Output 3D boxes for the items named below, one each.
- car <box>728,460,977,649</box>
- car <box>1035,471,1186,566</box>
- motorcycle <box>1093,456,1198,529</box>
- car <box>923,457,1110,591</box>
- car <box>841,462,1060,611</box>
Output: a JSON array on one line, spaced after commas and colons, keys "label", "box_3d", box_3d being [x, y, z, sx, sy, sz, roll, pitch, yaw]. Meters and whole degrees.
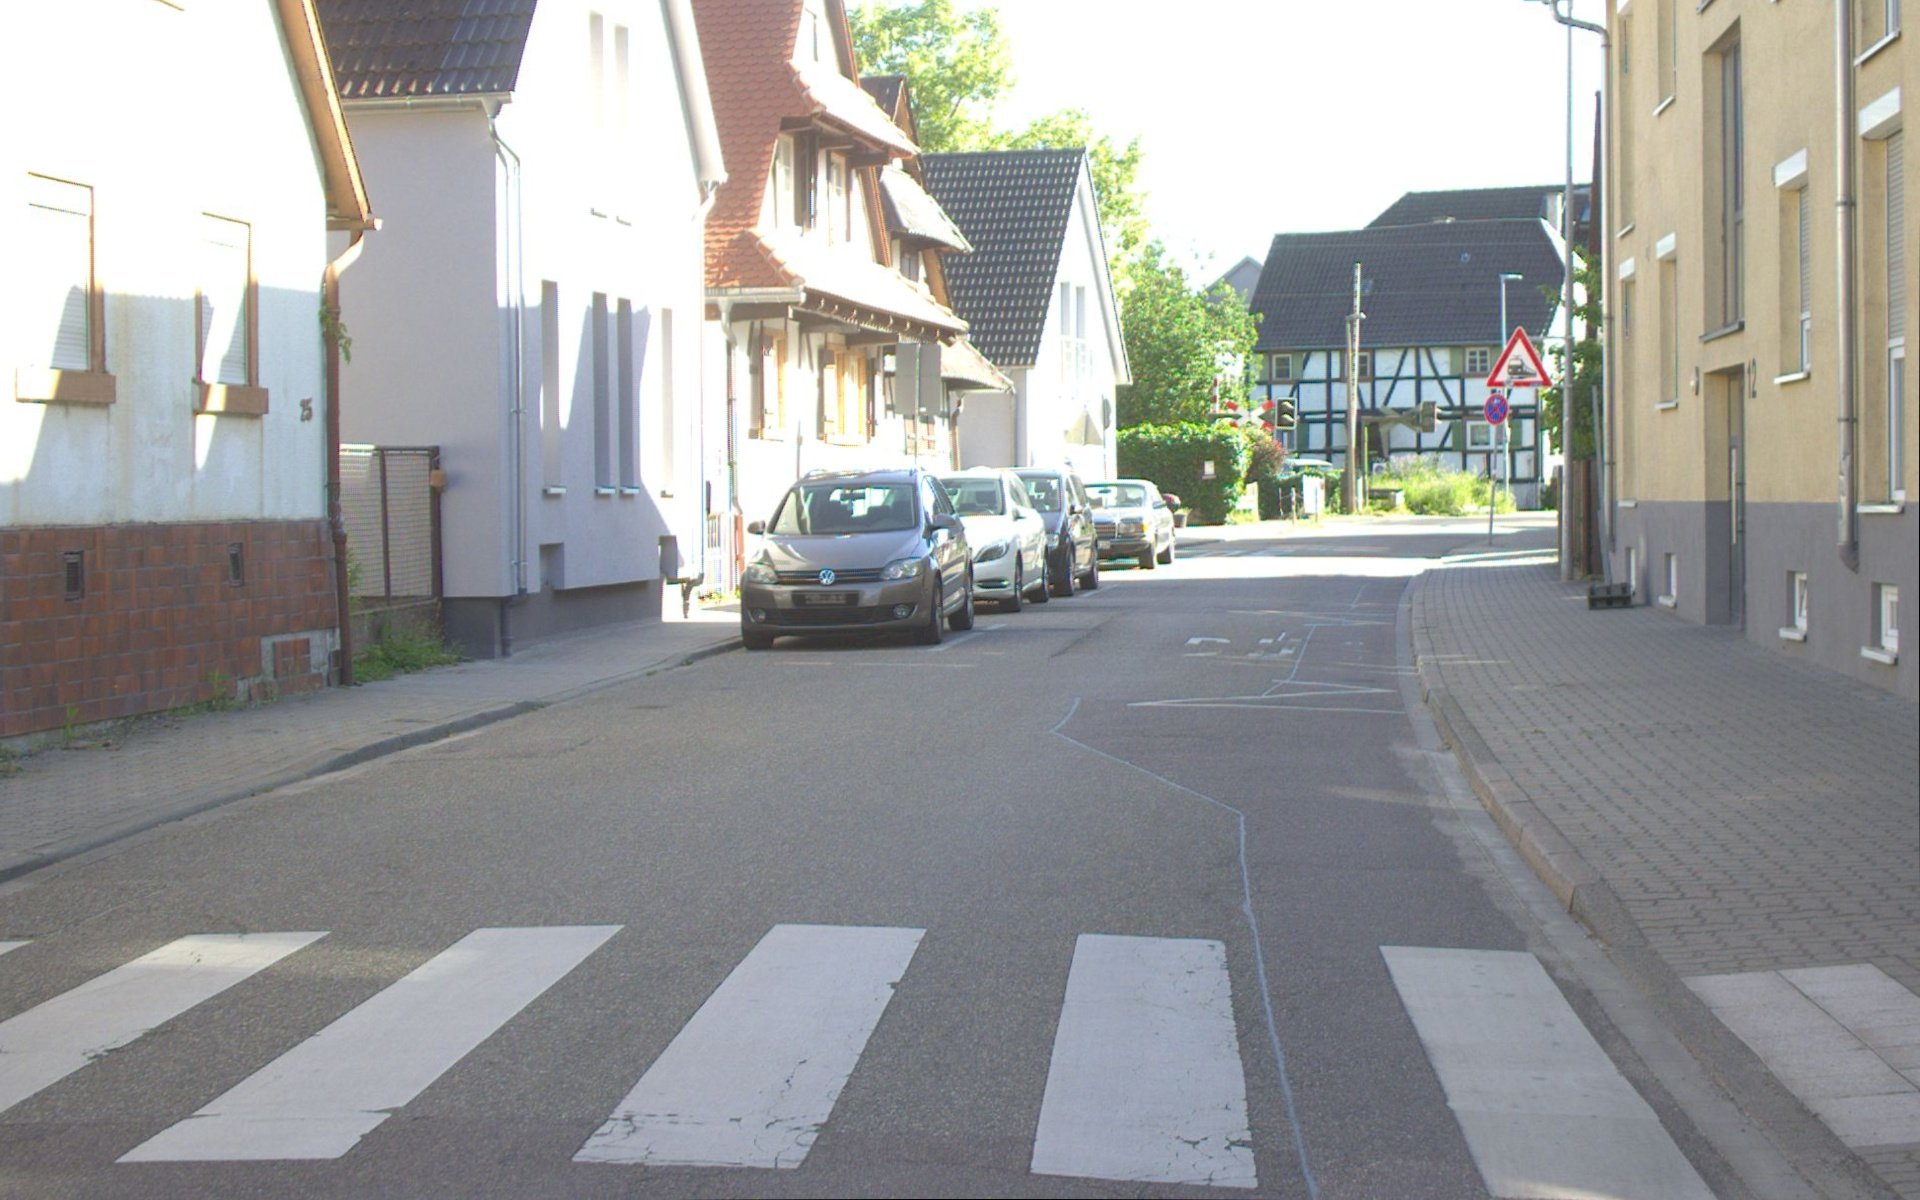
[{"label": "car", "box_3d": [-0.922, -0.464, 31.744, 1.743, 1.608, 4.000, -1, 2, 6]}, {"label": "car", "box_3d": [2.469, -1.339, 55.310, 1.845, 1.401, 5.035, -2, 2, 9]}, {"label": "motorcycle", "box_3d": [3.165, -1.843, 58.860, 0.625, 1.227, 1.994, -3, 3, -37]}, {"label": "car", "box_3d": [0.780, -1.014, 43.929, 1.784, 1.599, 4.360, -1, 2, 9]}, {"label": "car", "box_3d": [-0.047, -0.745, 38.581, 1.817, 1.561, 4.167, -1, 2, 9]}]
